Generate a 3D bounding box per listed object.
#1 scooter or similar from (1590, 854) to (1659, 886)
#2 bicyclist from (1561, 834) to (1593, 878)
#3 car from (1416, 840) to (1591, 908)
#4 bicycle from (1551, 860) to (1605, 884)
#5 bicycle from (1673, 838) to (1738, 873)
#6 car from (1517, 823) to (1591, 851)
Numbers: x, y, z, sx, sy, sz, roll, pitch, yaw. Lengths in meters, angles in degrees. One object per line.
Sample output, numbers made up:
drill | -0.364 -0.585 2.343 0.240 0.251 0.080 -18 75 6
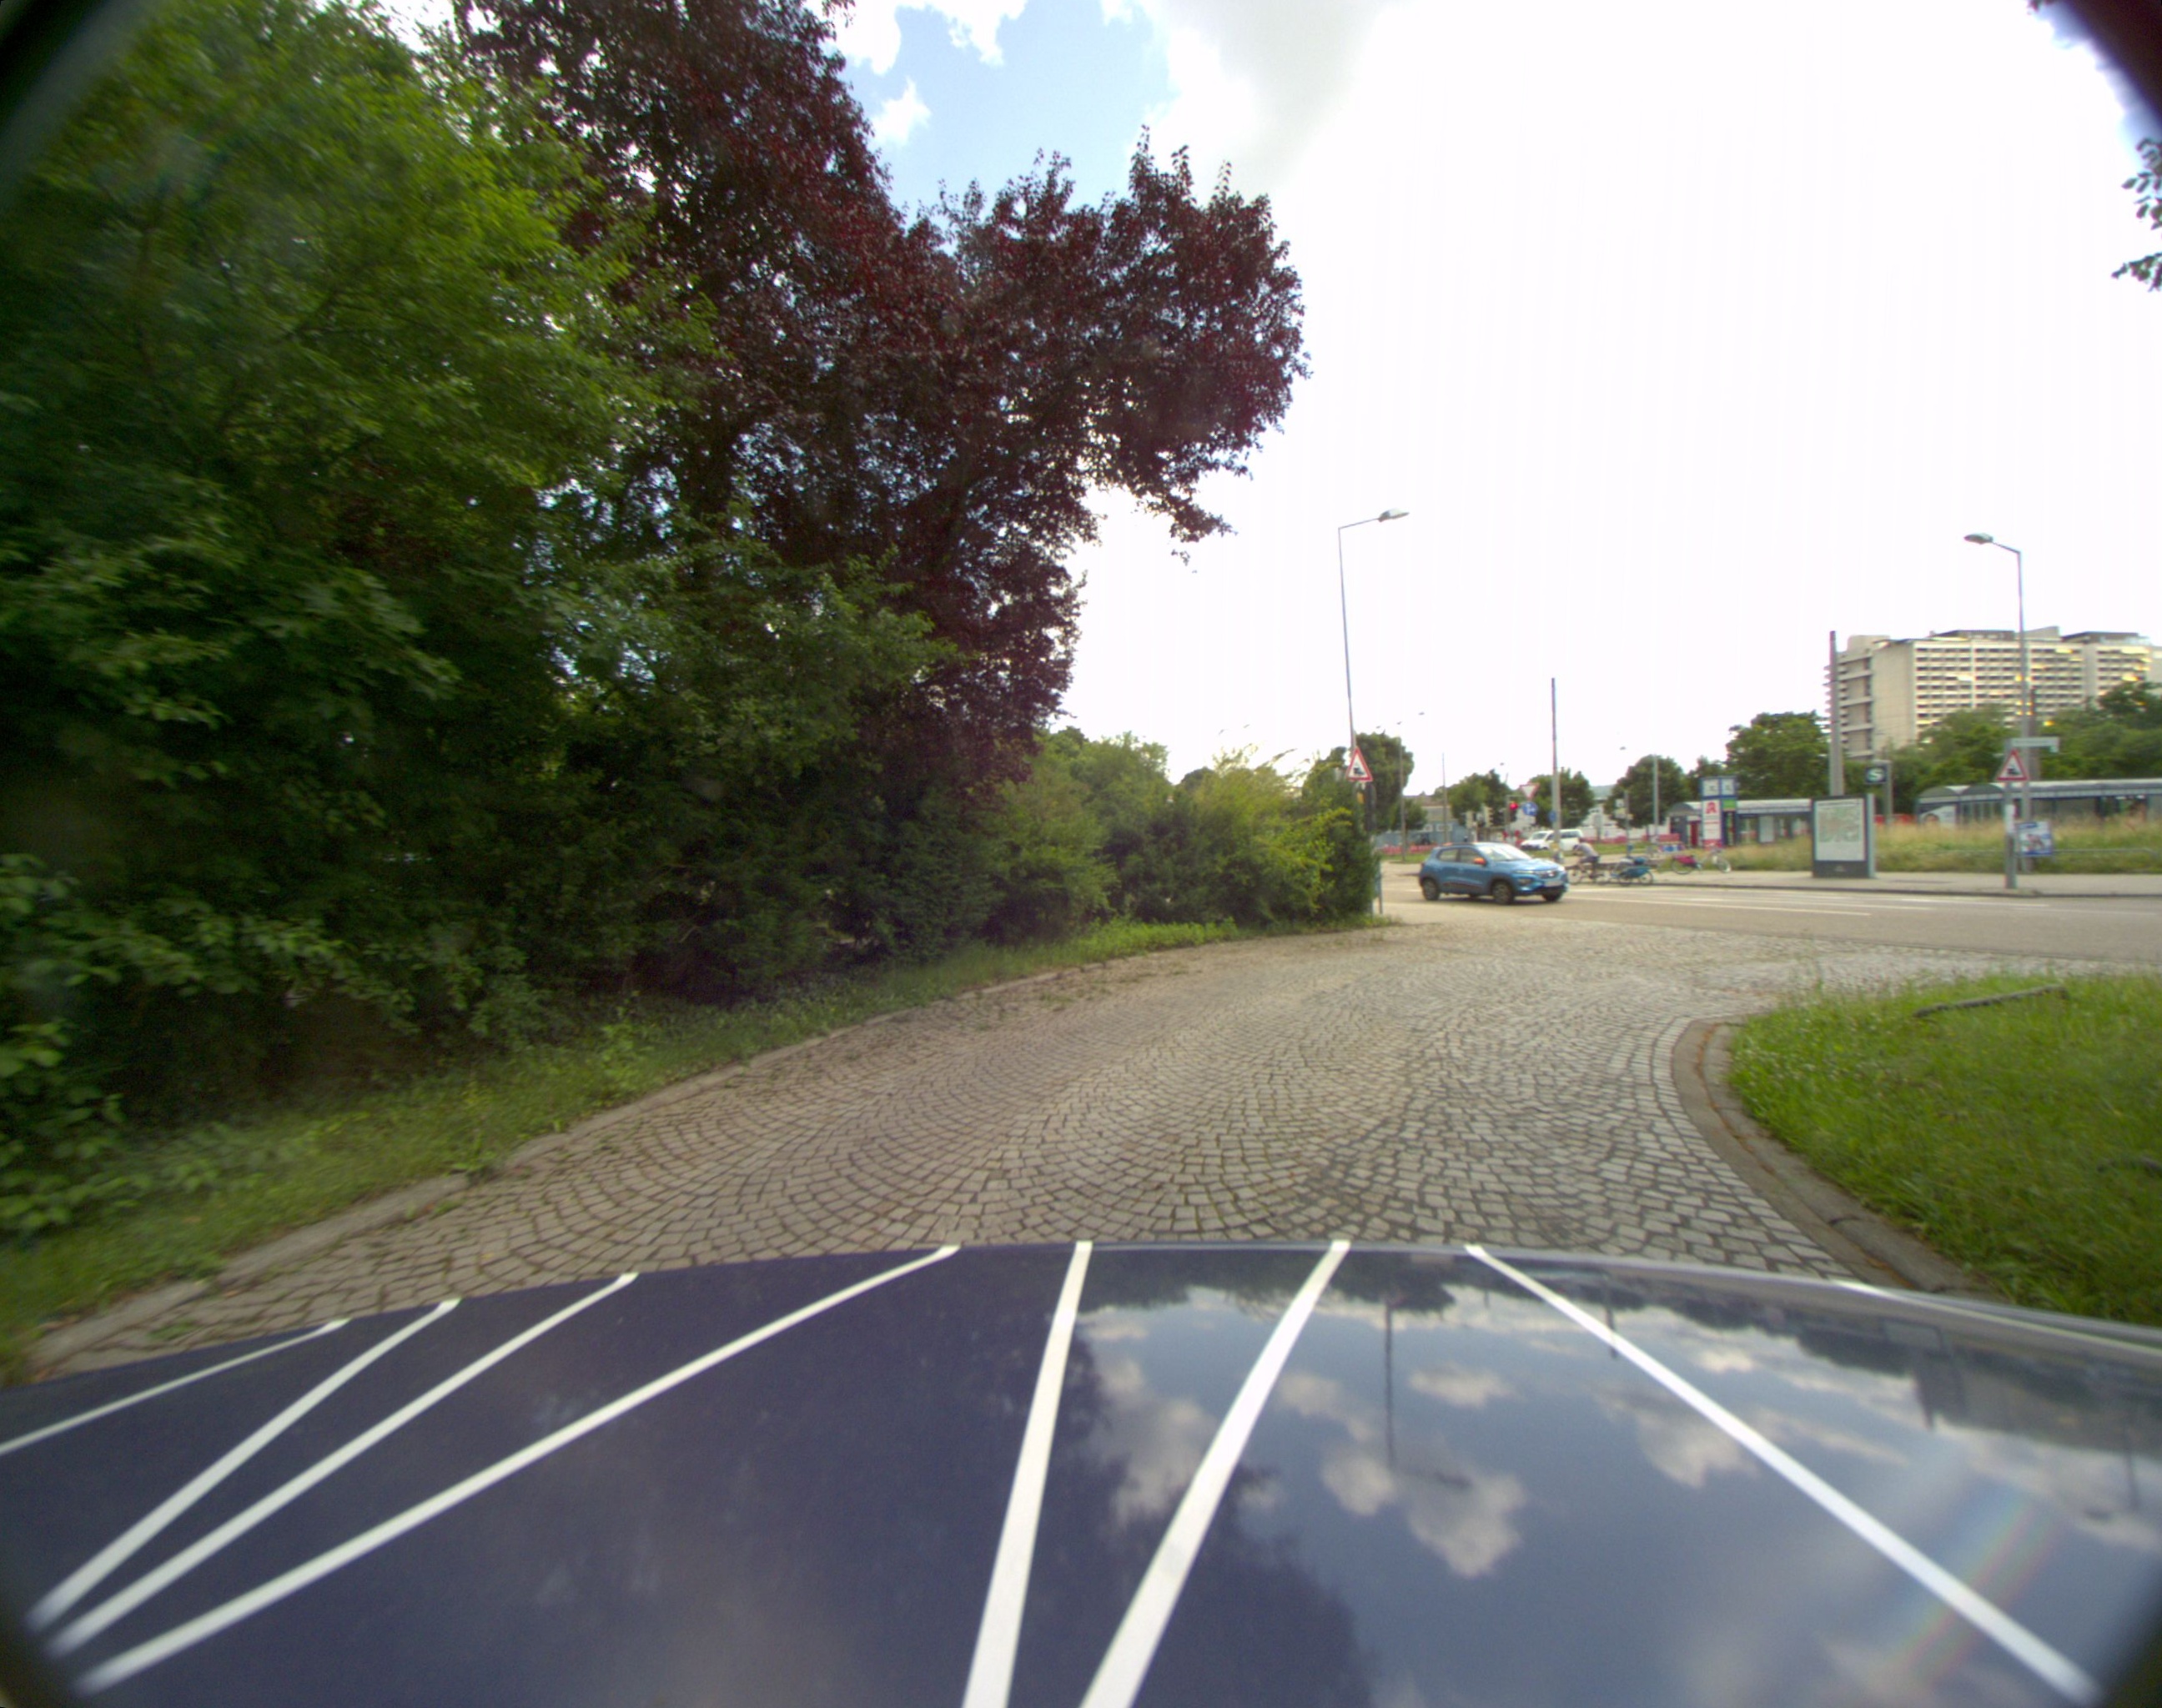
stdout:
scooter or similar | 17.510 0.514 24.508 0.962 0.974 1.578 -2 0 -9
bicyclist | 17.243 0.069 26.410 0.455 1.467 0.841 -2 1 -9
car | 10.244 0.468 18.739 1.606 1.455 3.698 -2 0 -15
bicycle | 17.253 0.612 26.399 0.555 0.760 1.726 -2 1 -9
bicycle | 21.734 0.061 26.450 1.656 1.125 0.702 -4 0 44
car | 37.115 -1.322 59.650 4.833 2.002 1.998 -2 1 -10
